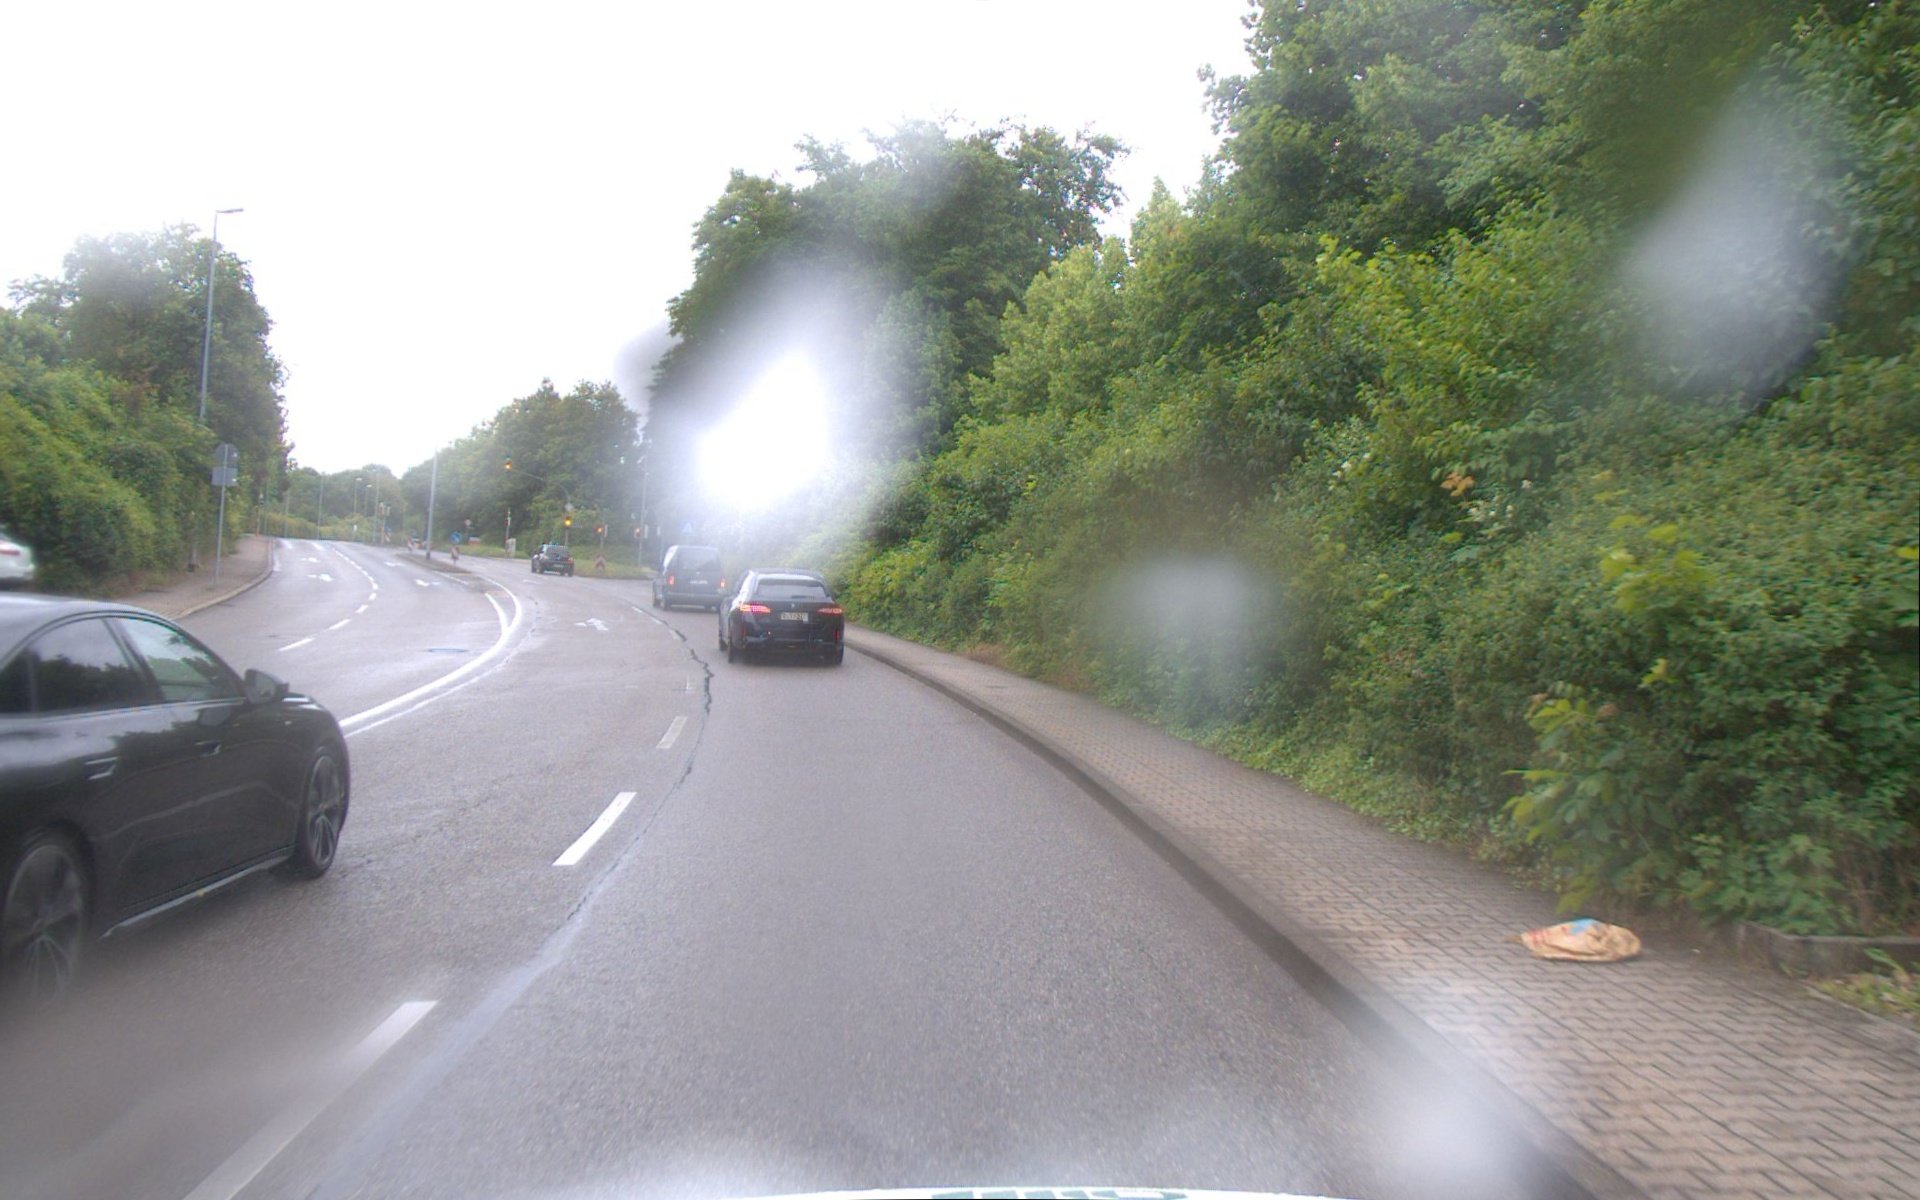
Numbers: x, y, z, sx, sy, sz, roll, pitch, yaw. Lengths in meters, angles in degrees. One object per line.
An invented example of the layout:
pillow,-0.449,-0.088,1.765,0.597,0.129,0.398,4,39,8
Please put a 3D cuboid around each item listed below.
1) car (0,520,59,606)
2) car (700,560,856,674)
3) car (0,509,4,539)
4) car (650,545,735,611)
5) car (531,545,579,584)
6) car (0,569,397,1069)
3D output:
car,-19.266,-0.932,30.789,3.928,1.471,1.846,9,-1,-18
car,-3.162,0.212,27.875,1.960,1.613,4.647,3,2,-14
car,-18.943,-1.055,28.301,3.923,1.707,1.849,9,-1,-14
car,-7.719,-0.650,47.511,1.961,1.779,3.984,1,1,-15
car,-20.464,-1.761,83.496,1.825,1.691,3.974,3,-2,-21
car,-3.942,0.652,6.646,1.867,1.422,4.855,2,2,-3
